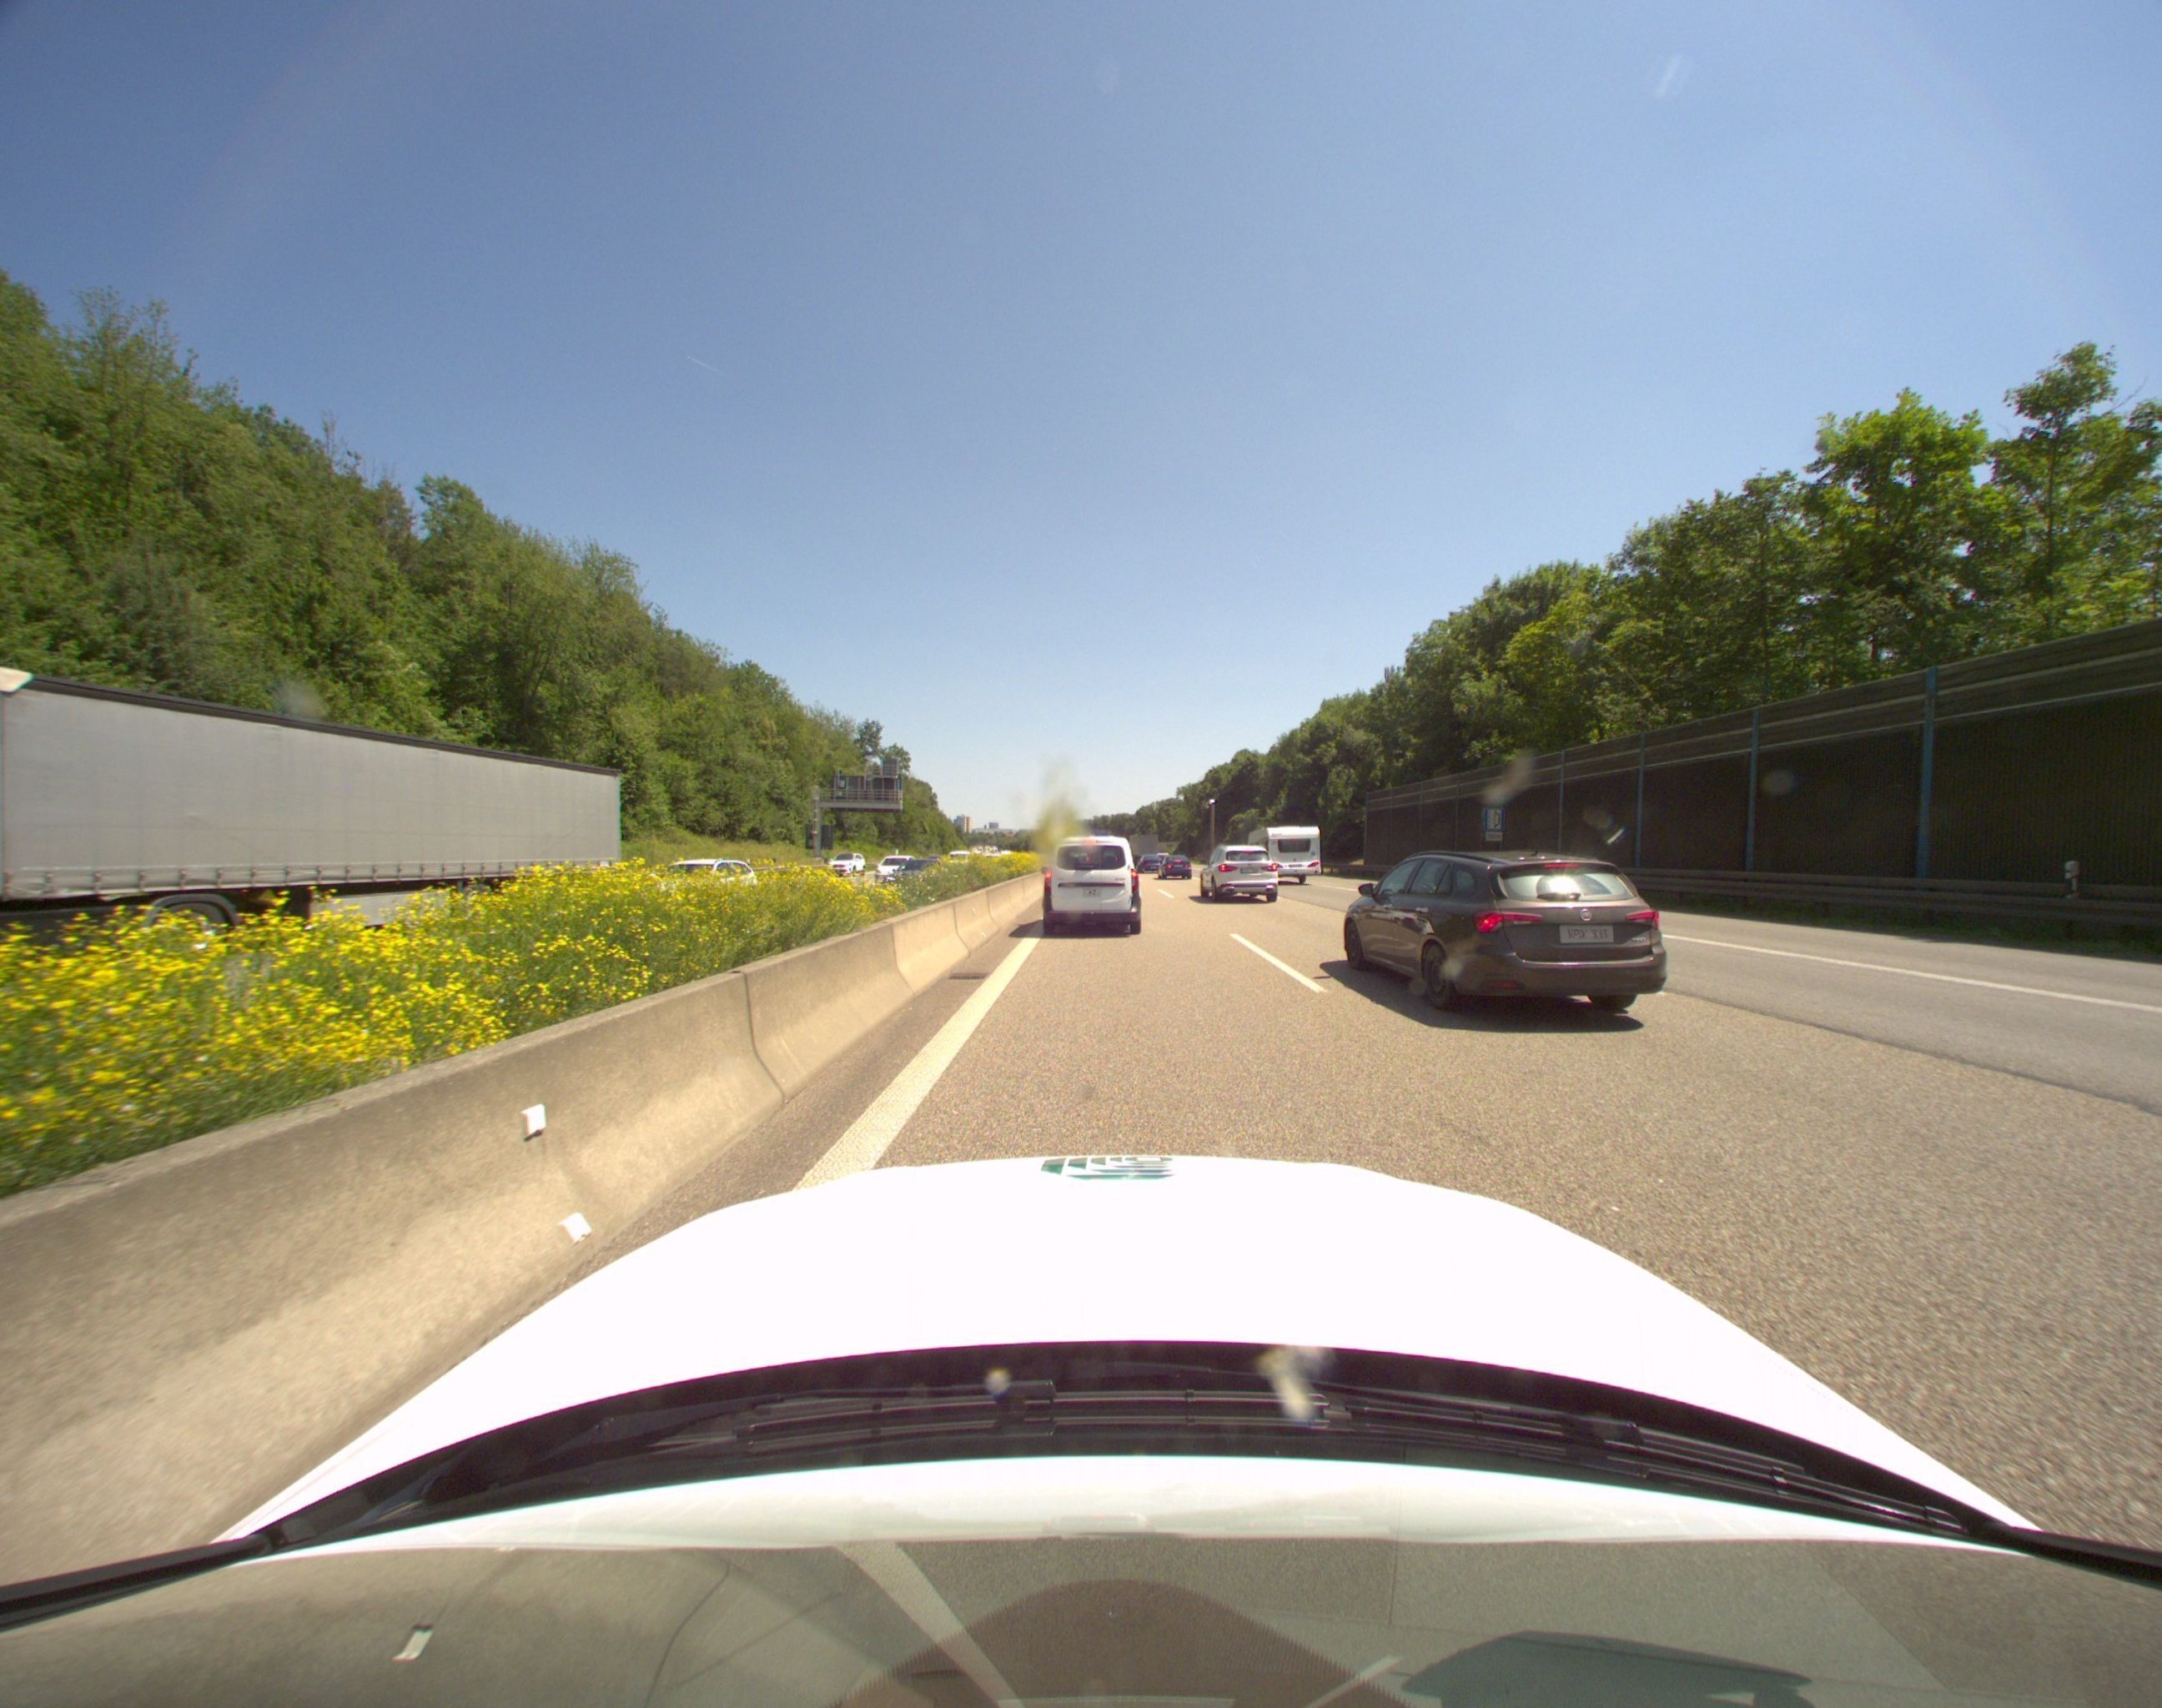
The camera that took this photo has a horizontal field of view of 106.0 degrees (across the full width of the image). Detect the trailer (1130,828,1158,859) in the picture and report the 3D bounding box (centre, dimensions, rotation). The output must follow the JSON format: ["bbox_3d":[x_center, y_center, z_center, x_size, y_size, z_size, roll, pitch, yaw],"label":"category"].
[{"bbox_3d":[8.366,-1.330,109.446,3.071,3.985,10.323,-1,0,1],"label":"trailer"}]

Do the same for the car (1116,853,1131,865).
[{"bbox_3d":[5.554,0.659,107.590,1.818,1.447,4.000,-1,0,0],"label":"car"}]

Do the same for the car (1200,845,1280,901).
[{"bbox_3d":[4.813,0.520,25.124,1.863,1.608,3.882,0,1,3],"label":"car"}]

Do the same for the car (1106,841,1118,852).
[{"bbox_3d":[6.018,-1.413,159.070,1.989,2.013,3.995,-1,0,-3],"label":"car"}]

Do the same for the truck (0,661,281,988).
[{"bbox_3d":[-14.432,-0.349,10.221,2.820,3.939,6.005,-1,0,0],"label":"truck"}]

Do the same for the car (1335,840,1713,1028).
[{"bbox_3d":[4.250,0.622,8.766,1.831,1.513,4.404,0,1,2],"label":"car"}]

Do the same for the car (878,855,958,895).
[{"bbox_3d":[-5.929,0.741,30.210,1.986,1.340,4.249,-1,0,1],"label":"car"}]

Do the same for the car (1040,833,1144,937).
[{"bbox_3d":[0.291,0.530,16.190,1.795,1.808,4.003,-1,0,3],"label":"car"}]

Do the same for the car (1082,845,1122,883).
[{"bbox_3d":[1.055,0.490,42.177,1.987,1.860,4.000,-1,0,0],"label":"car"}]

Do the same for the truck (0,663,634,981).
[{"bbox_3d":[-14.474,-0.413,16.941,2.820,3.938,13.742,-1,0,0],"label":"truck"}]

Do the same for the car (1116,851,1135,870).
[{"bbox_3d":[4.741,0.680,87.745,1.818,1.989,4.000,-1,0,0],"label":"car"}]

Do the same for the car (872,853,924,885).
[{"bbox_3d":[-9.278,0.723,41.553,1.669,1.498,3.884,-1,0,1],"label":"car"}]

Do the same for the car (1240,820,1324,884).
[{"bbox_3d":[9.389,-0.091,38.631,2.470,2.766,6.220,-1,0,0],"label":"car"}]

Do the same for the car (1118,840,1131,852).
[{"bbox_3d":[7.599,-1.379,142.069,1.987,2.013,4.000,-1,0,1],"label":"car"}]

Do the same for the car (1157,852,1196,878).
[{"bbox_3d":[5.421,0.611,46.698,1.818,1.424,4.000,-1,0,0],"label":"car"}]

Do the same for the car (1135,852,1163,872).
[{"bbox_3d":[5.043,0.557,61.043,1.818,1.424,4.000,-1,0,0],"label":"car"}]

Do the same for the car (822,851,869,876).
[{"bbox_3d":[-17.259,0.674,59.868,1.986,1.692,4.768,-1,0,1],"label":"car"}]

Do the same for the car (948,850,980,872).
[{"bbox_3d":[-9.540,0.550,66.656,1.878,1.755,4.278,-1,0,1],"label":"car"}]

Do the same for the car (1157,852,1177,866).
[{"bbox_3d":[9.502,0.543,90.467,1.818,1.424,4.000,-1,0,0],"label":"car"}]

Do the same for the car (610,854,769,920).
[{"bbox_3d":[-10.051,0.780,21.323,1.986,1.498,4.249,-1,0,1],"label":"car"}]

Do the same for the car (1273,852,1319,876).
[{"bbox_3d":[13.287,0.608,50.464,1.818,1.424,4.000,-1,0,0],"label":"car"}]

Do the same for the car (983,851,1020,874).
[{"bbox_3d":[-5.346,0.534,55.245,1.931,1.503,4.660,-1,0,1],"label":"car"}]

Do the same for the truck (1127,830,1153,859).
[{"bbox_3d":[8.447,-1.331,117.275,3.071,3.985,9.646,-1,0,1],"label":"truck"}]
